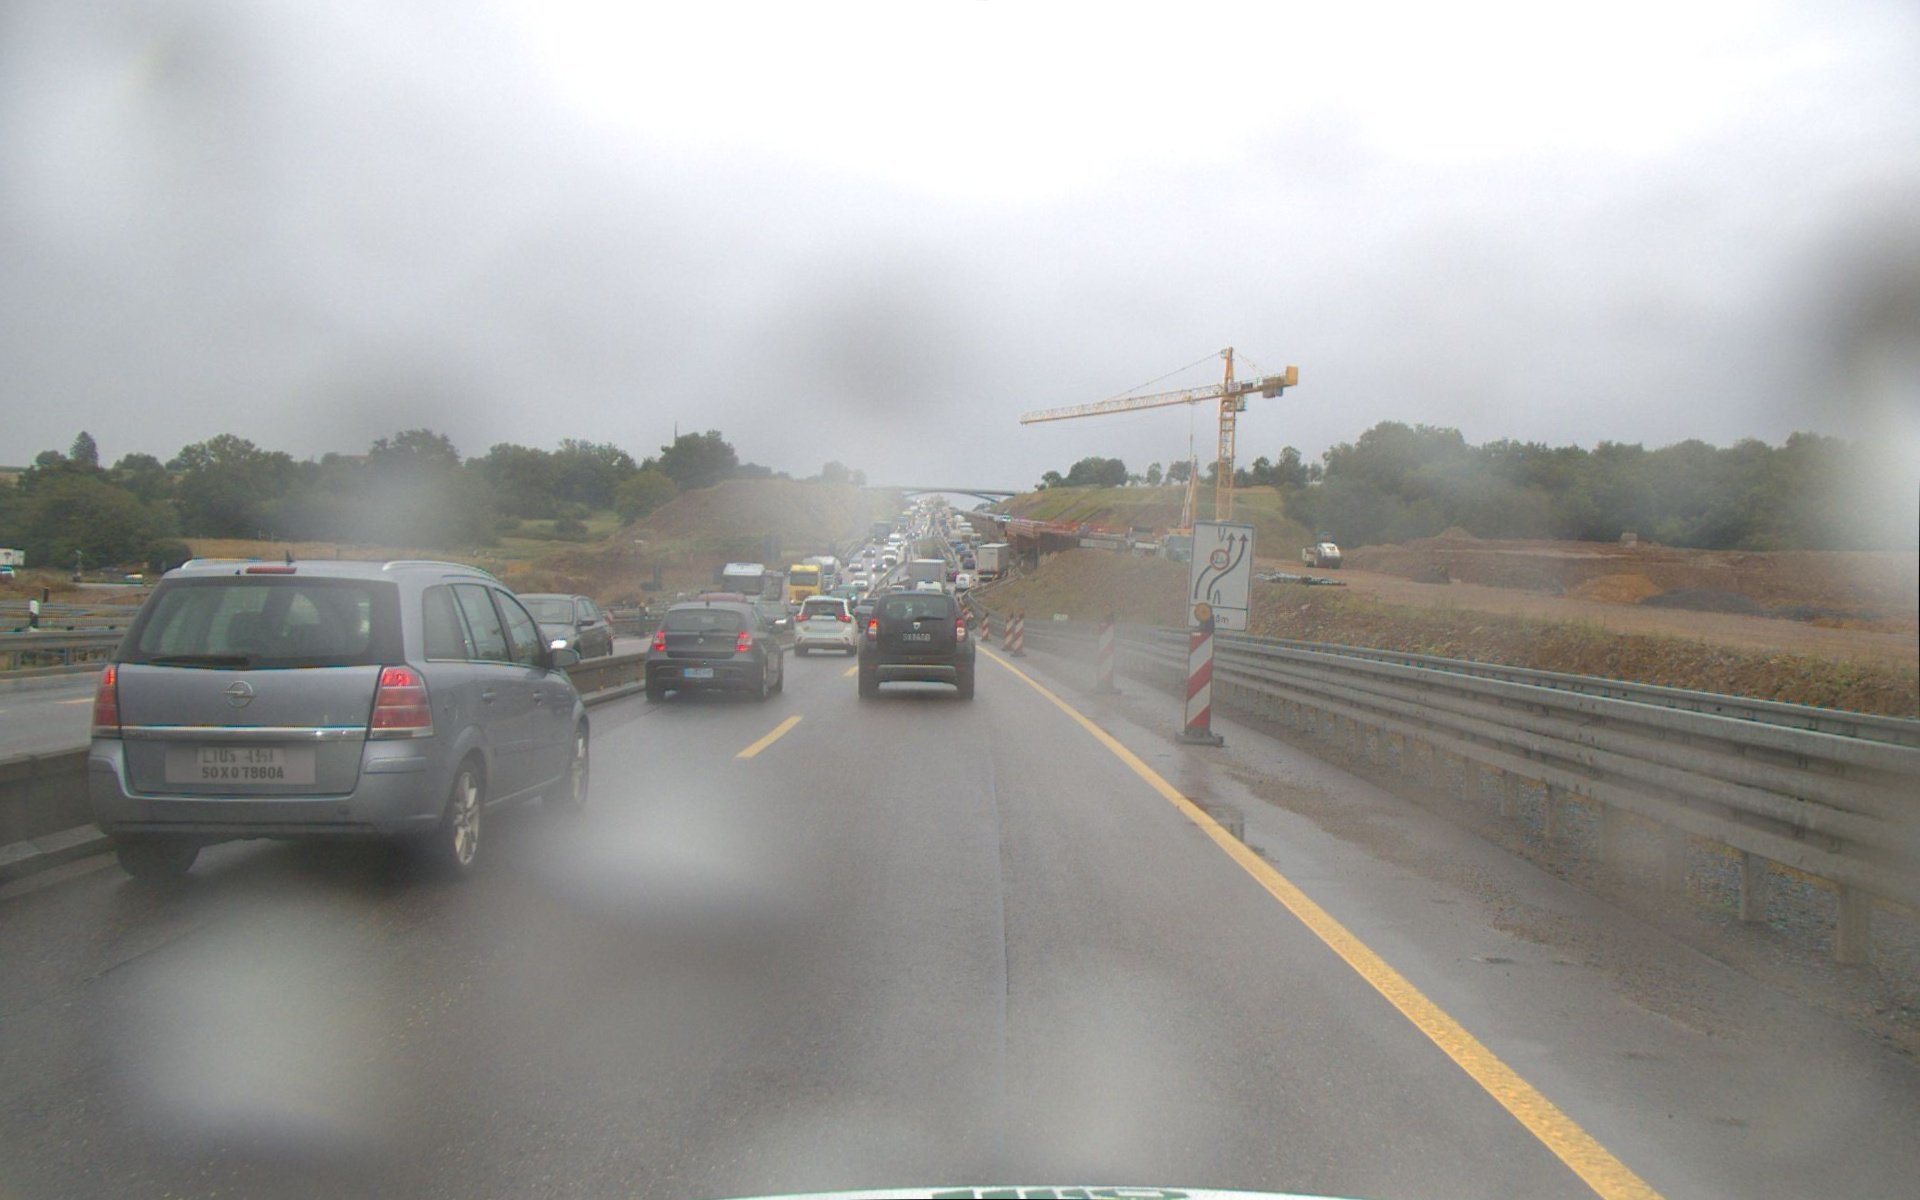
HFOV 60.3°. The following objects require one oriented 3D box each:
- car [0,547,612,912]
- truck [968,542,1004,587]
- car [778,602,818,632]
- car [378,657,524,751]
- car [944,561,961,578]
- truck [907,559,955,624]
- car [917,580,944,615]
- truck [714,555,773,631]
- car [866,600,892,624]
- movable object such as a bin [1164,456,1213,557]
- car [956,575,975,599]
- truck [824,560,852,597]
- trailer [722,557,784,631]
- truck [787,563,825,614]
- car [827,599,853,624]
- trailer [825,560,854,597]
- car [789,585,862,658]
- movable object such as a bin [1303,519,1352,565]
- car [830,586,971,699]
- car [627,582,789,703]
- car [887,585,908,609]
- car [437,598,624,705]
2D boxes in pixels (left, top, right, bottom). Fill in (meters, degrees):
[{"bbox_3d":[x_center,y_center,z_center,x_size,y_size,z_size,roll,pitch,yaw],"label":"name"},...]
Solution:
[{"bbox_3d":[-3.416,0.598,9.573,1.953,1.628,4.139,1,0,-1],"label":"car"},{"bbox_3d":[3.155,-4.310,205.206,3.727,5.131,12.915,1,0,-2],"label":"truck"},{"bbox_3d":[-8.174,0.837,83.652,1.675,1.479,3.999,1,0,-2],"label":"car"},{"bbox_3d":[-10.008,2.012,32.816,1.783,1.523,3.999,1,1,-2],"label":"car"},{"bbox_3d":[-0.882,-3.679,199.811,1.953,2.048,3.999,0,1,-2],"label":"car"},{"bbox_3d":[-2.503,-0.685,145.937,3.036,5.521,9.449,1,0,6],"label":"truck"},{"bbox_3d":[-2.190,-0.184,123.335,1.953,2.528,4.980,1,0,-1],"label":"car"},{"bbox_3d":[-11.781,-0.351,90.354,2.631,3.996,5.272,0,0,-2],"label":"truck"},{"bbox_3d":[-6.396,0.935,131.144,1.953,1.790,4.686,1,0,-1],"label":"car"},{"bbox_3d":[26.672,-10.708,192.344,4.618,11.032,10.311,1,0,13],"label":"movable object such as a bin"},{"bbox_3d":[0.566,-1.422,180.923,1.953,2.528,4.740,1,0,-1],"label":"car"},{"bbox_3d":[-12.645,-2.204,171.601,2.568,3.742,6.592,1,0,-2],"label":"truck"},{"bbox_3d":[-11.930,-0.318,96.163,2.631,4.033,9.816,0,0,-2],"label":"trailer"},{"bbox_3d":[-12.927,-0.943,138.970,2.694,4.133,6.146,1,0,-1],"label":"truck"},{"bbox_3d":[-9.248,0.890,127.910,1.751,1.837,5.188,0,0,-2],"label":"car"},{"bbox_3d":[-12.871,-2.203,177.436,2.568,3.742,11.998,1,0,-2],"label":"trailer"},{"bbox_3d":[-3.943,0.609,48.972,1.953,2.049,3.892,1,0,-2],"label":"car"},{"bbox_3d":[31.593,-4.926,142.363,2.295,3.663,6.554,1,0,-5],"label":"movable object such as a bin"},{"bbox_3d":[-0.901,0.631,26.369,2.039,1.628,4.139,1,0,-1],"label":"car"},{"bbox_3d":[-3.674,0.594,24.767,1.954,1.628,4.138,1,0,-3],"label":"car"},{"bbox_3d":[-5.985,-0.283,158.792,1.953,2.200,4.139,1,0,-1],"label":"car"},{"bbox_3d":[-6.819,0.764,26.760,1.869,1.474,4.410,-1,1,0],"label":"car"}]
